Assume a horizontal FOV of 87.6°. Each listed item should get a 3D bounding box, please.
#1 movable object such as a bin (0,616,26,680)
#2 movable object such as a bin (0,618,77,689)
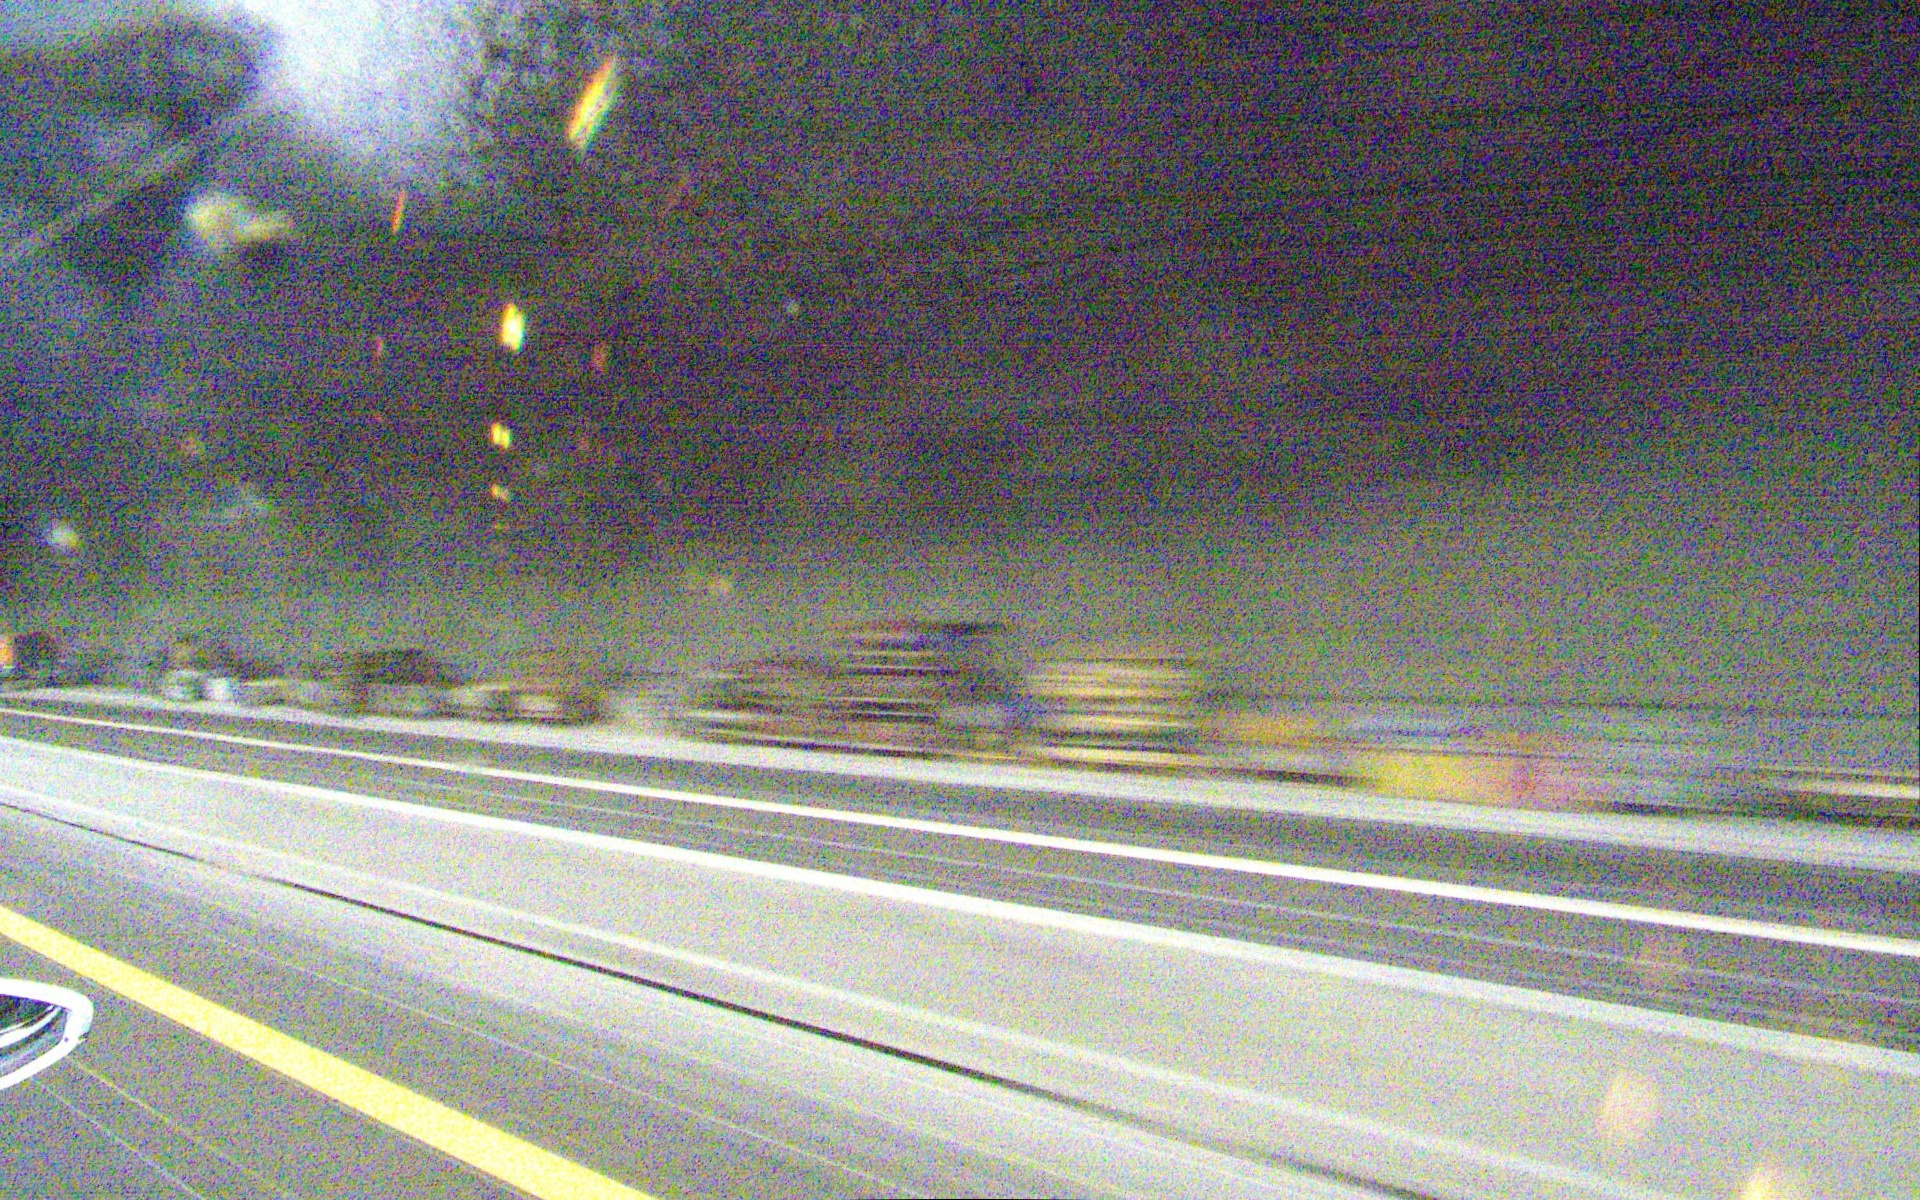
[{"bbox_3d":[-27.953,1.328,27.775,4.437,1.698,1.855,0,3,32],"label":"movable object such as a bin"},{"bbox_3d":[-23.619,1.293,25.152,3.011,1.616,1.299,0,3,32],"label":"movable object such as a bin"}]
